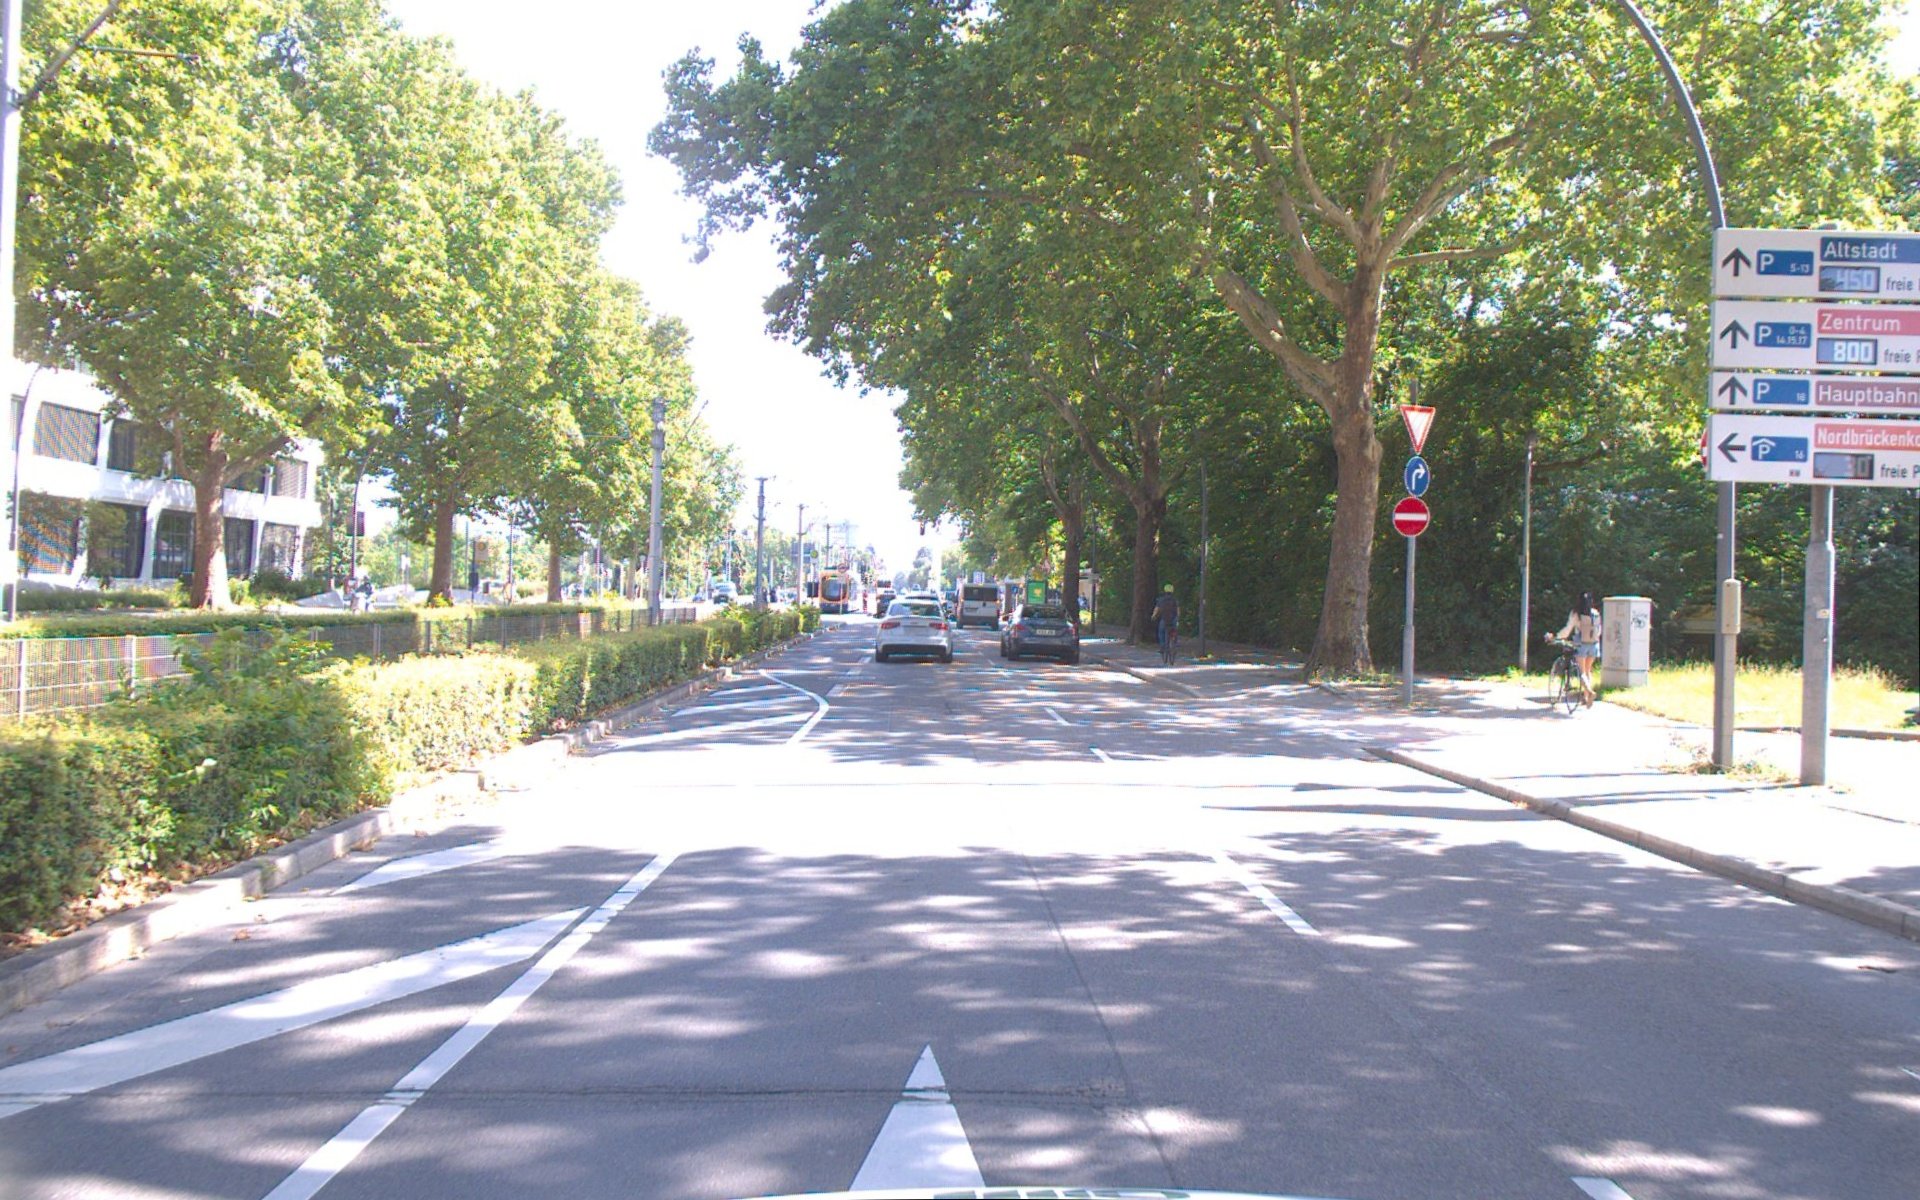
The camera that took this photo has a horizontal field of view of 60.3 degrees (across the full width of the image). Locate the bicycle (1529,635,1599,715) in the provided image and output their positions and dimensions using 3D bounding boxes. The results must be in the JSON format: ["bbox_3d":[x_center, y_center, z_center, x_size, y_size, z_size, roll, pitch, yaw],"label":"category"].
[{"bbox_3d":[8.898,1.087,24.410,0.342,1.101,1.698,2,0,-2],"label":"bicycle"}]

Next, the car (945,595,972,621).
[{"bbox_3d":[-0.145,0.637,133.526,2.030,2.034,4.057,2,0,-1],"label":"car"}]

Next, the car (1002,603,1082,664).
[{"bbox_3d":[2.054,0.822,42.407,1.746,1.445,3.999,2,0,-1],"label":"car"}]

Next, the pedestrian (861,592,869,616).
[{"bbox_3d":[-7.986,0.334,139.399,0.611,1.952,0.689,2,0,-1],"label":"pedestrian"}]

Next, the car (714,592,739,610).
[{"bbox_3d":[-22.931,0.108,162.555,1.793,1.652,4.895,2,0,-2],"label":"car"}]

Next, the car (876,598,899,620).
[{"bbox_3d":[-5.641,0.703,129.275,1.694,1.659,3.999,2,0,-1],"label":"car"}]

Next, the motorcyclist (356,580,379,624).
[{"bbox_3d":[-20.054,0.069,55.997,0.569,1.483,0.533,2,0,-2],"label":"motorcyclist"}]

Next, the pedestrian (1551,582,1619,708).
[{"bbox_3d":[9.293,0.660,24.618,0.619,1.816,0.874,2,0,-2],"label":"pedestrian"}]

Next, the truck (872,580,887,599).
[{"bbox_3d":[-12.647,-1.600,260.454,1.953,2.839,8.516,2,0,-1],"label":"truck"}]

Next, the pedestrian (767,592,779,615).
[{"bbox_3d":[-14.610,0.264,129.217,0.758,1.764,0.755,2,0,7],"label":"pedestrian"}]

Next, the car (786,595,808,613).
[{"bbox_3d":[-17.660,0.426,178.932,1.953,1.764,3.999,2,0,-1],"label":"car"}]

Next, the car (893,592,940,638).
[{"bbox_3d":[-1.671,0.557,63.455,1.694,1.633,3.884,2,0,-1],"label":"car"}]

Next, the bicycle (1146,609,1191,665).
[{"bbox_3d":[4.858,0.850,38.667,0.700,1.168,2.178,-1,2,-2],"label":"bicycle"}]

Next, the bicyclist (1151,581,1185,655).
[{"bbox_3d":[4.851,0.417,38.636,0.621,1.676,0.979,-1,1,-2],"label":"bicyclist"}]

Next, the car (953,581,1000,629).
[{"bbox_3d":[0.803,0.251,82.853,2.185,2.250,4.160,2,0,-1],"label":"car"}]

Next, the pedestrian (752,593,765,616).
[{"bbox_3d":[-14.629,0.325,119.828,0.748,1.651,0.589,2,0,-27],"label":"pedestrian"}]

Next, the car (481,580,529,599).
[{"bbox_3d":[-41.023,-0.903,149.148,3.769,1.576,1.769,2,0,-1],"label":"car"}]

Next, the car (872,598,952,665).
[{"bbox_3d":[-1.106,0.702,38.859,1.748,1.445,3.884,2,0,-1],"label":"car"}]

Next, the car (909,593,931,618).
[{"bbox_3d":[-3.219,0.466,132.706,1.694,1.935,3.999,2,0,-1],"label":"car"}]

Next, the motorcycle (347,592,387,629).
[{"bbox_3d":[-20.078,0.355,56.017,0.619,1.195,1.999,2,0,-1],"label":"motorcycle"}]

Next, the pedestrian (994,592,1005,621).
[{"bbox_3d":[2.657,0.437,111.023,0.622,1.980,0.718,2,0,-1],"label":"pedestrian"}]

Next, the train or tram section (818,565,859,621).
[{"bbox_3d":[-9.331,-0.512,127.259,2.563,4.085,7.747,2,0,-1],"label":"train or tram section"}]

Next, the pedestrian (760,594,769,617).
[{"bbox_3d":[-14.488,0.409,122.487,0.581,1.675,0.554,2,0,-1],"label":"pedestrian"}]
